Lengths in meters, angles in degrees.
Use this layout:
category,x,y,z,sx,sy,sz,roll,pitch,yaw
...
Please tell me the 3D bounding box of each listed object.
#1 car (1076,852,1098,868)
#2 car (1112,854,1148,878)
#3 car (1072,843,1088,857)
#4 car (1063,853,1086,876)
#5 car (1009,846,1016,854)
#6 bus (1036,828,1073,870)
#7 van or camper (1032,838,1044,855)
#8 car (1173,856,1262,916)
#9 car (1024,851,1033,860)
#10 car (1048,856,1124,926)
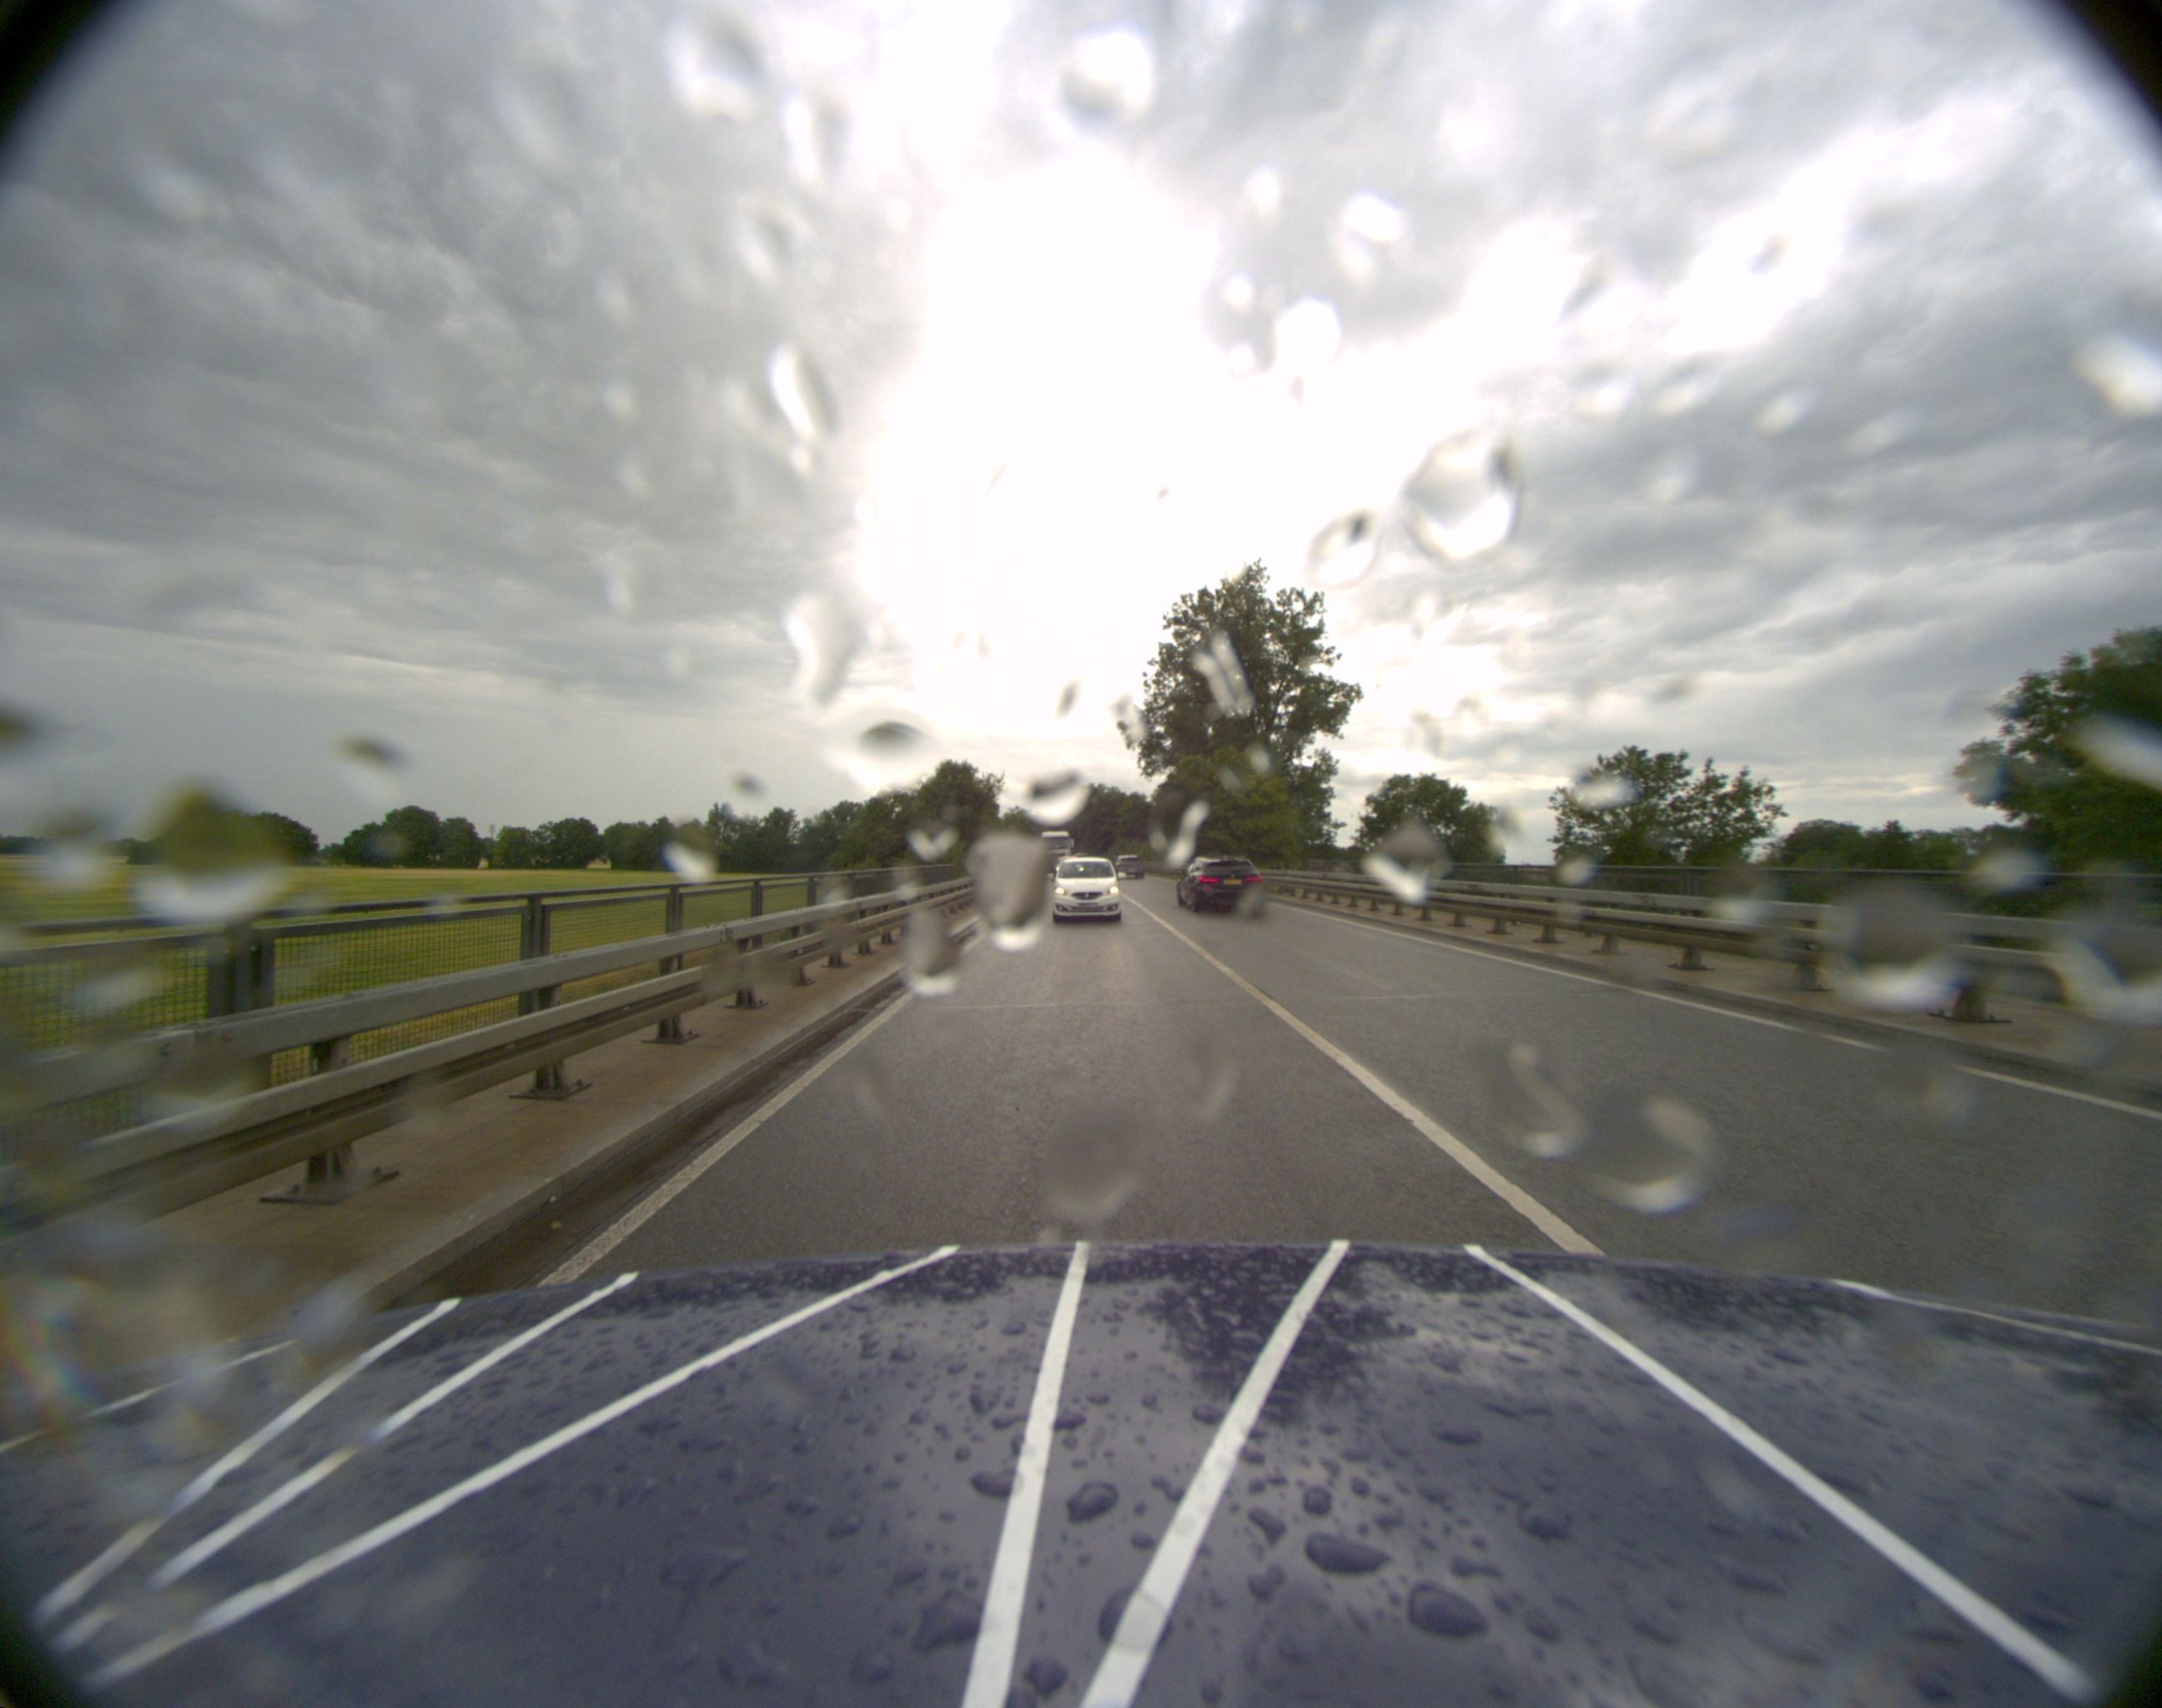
category,x,y,z,sx,sy,sz,roll,pitch,yaw
car,0.600,0.634,79.600,1.905,1.532,4.021,-2,0,-5
car,3.125,0.778,49.473,1.840,1.434,4.102,-2,0,-3
car,-0.188,-0.499,99.113,1.846,1.690,4.388,-2,0,-2
car,-0.435,0.687,48.912,1.476,1.410,3.428,-1,0,-1
car,-14.195,-0.874,157.555,1.394,1.601,3.303,-2,1,-7
bus,-2.353,-0.499,70.214,3.063,3.405,13.636,-1,1,-1
van or camper,-8.441,-1.431,149.316,2.000,3.212,5.579,-2,1,-7
car,3.671,0.805,21.130,1.701,1.392,4.331,-1,1,1
car,-8.971,0.196,130.007,1.394,1.470,3.225,0,1,-6
car,0.128,0.853,19.347,1.701,1.471,4.062,-1,1,1
